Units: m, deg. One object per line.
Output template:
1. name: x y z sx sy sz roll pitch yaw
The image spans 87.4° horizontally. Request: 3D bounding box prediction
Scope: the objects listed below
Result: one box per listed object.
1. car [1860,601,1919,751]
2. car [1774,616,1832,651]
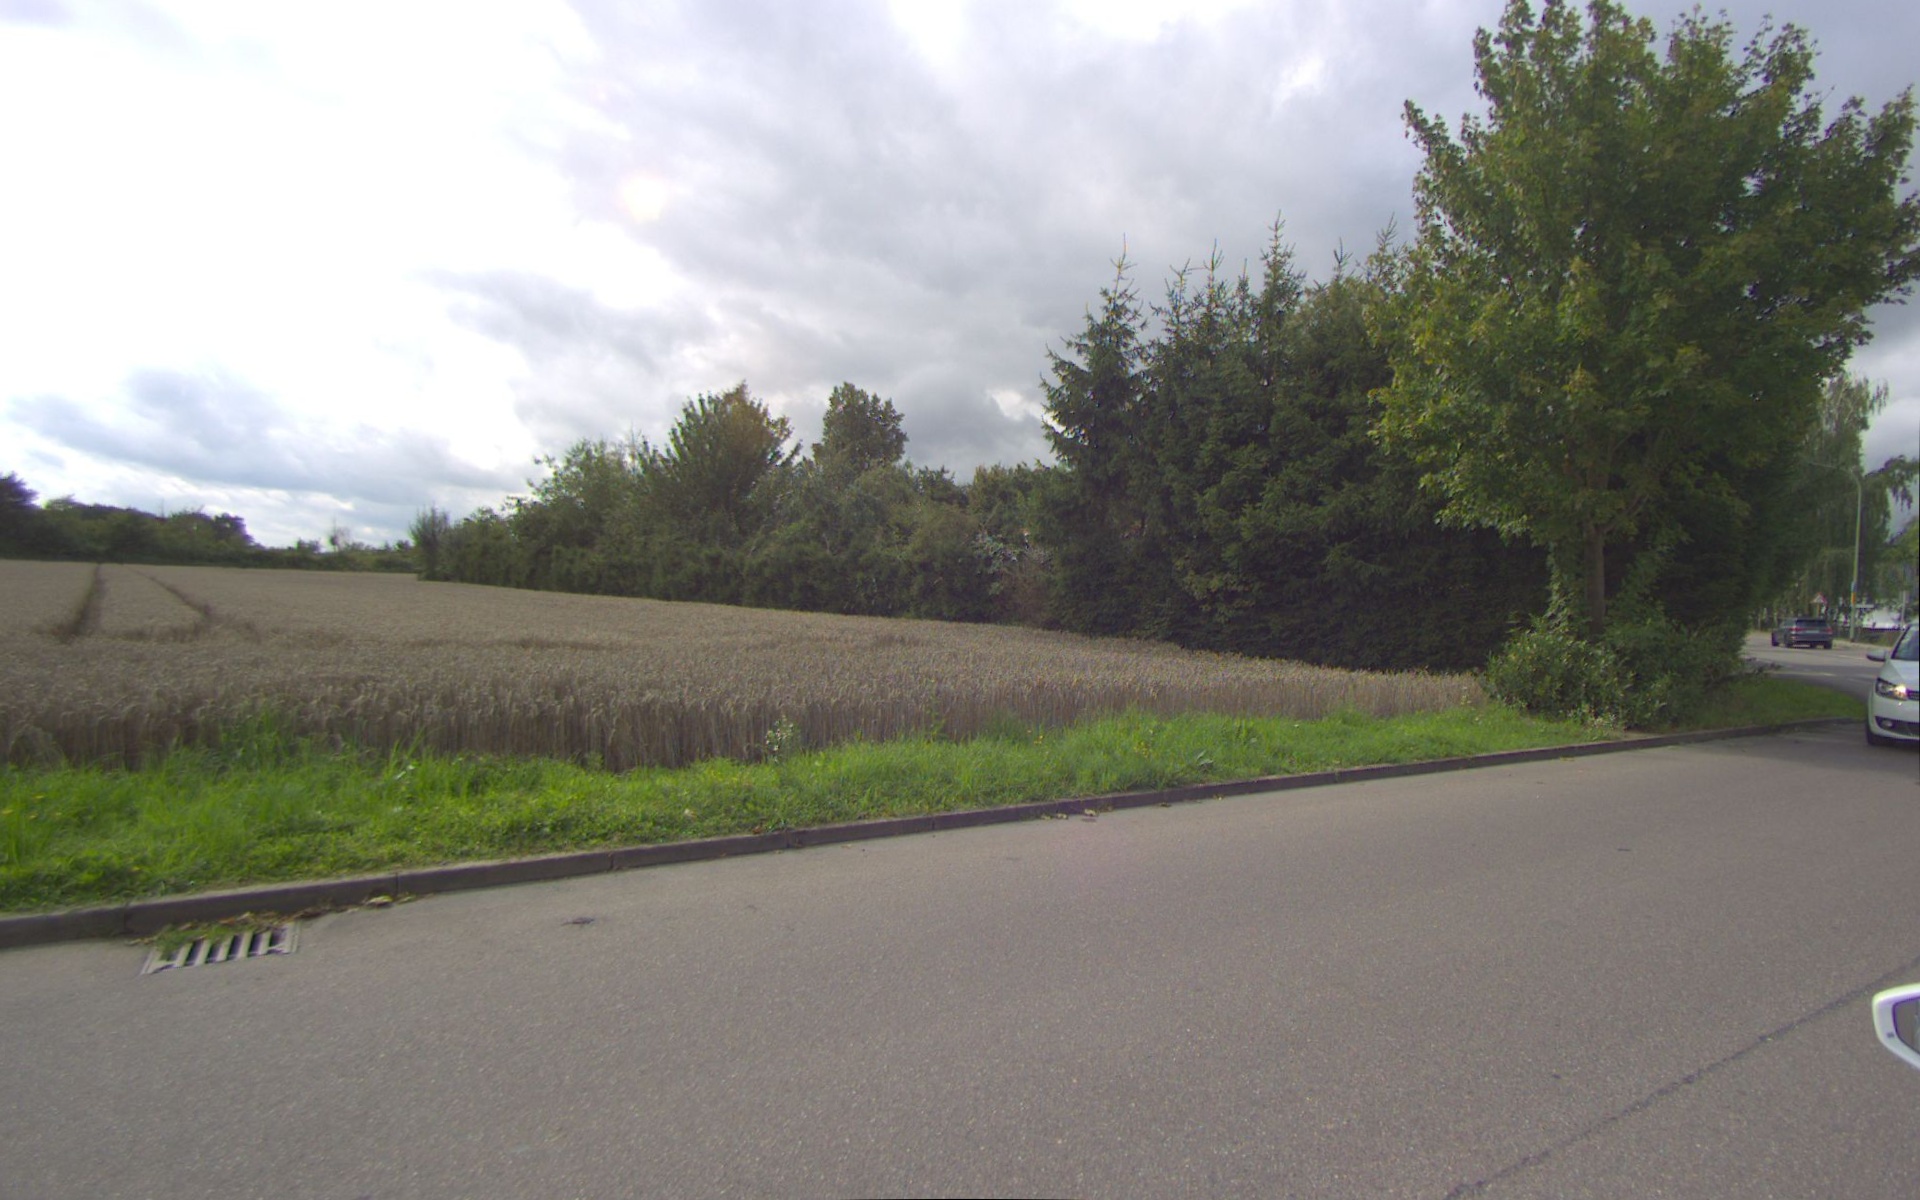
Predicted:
1. car: 12.593 0.913 12.323 3.998 1.687 1.685 2 0 -39
2. car: 43.023 1.662 51.347 1.968 1.573 3.985 3 2 37
